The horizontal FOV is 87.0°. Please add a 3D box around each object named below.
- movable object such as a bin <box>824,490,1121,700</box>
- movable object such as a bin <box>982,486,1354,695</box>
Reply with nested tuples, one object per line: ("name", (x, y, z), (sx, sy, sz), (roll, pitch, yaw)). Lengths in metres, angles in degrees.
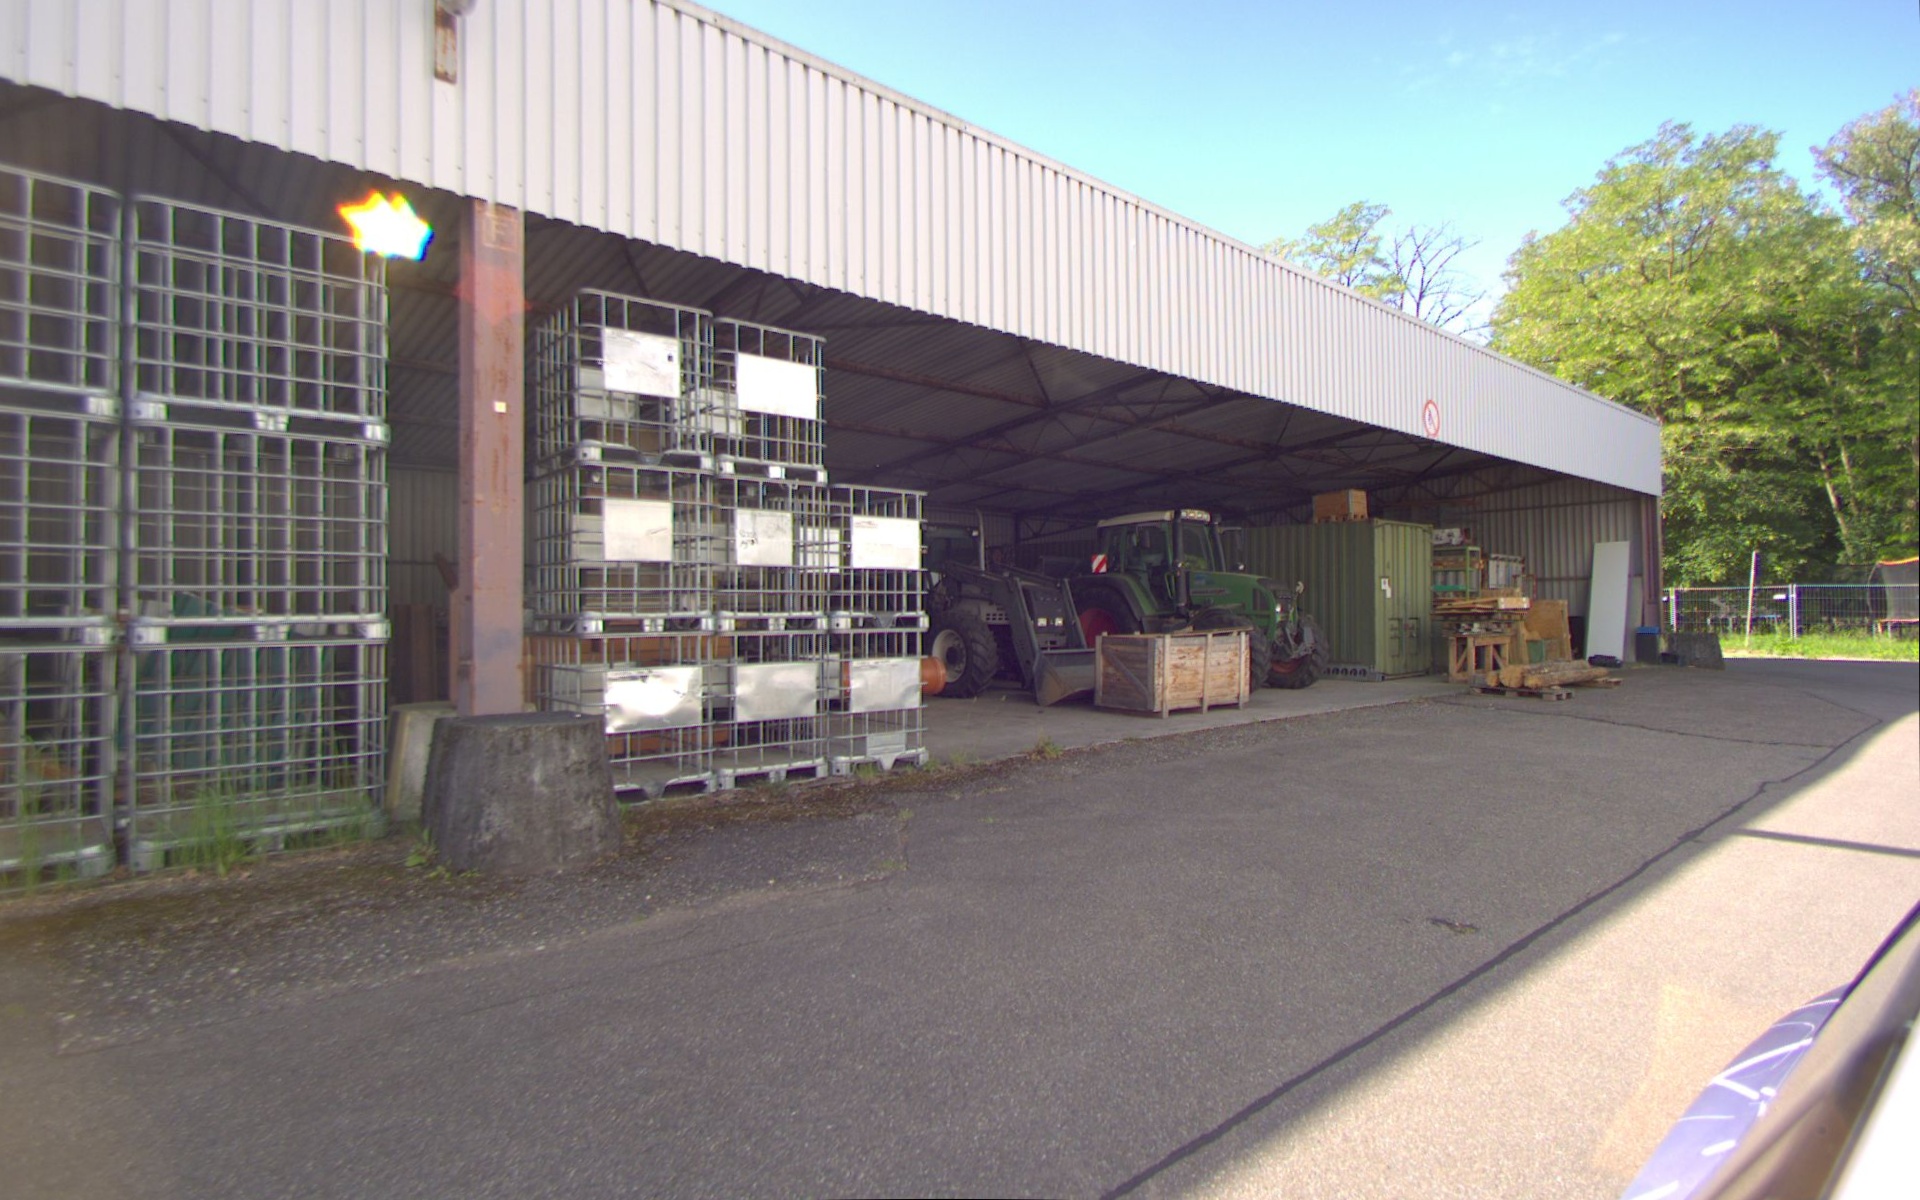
("movable object such as a bin", (0.060, -0.052, 16.357), (2.453, 2.867, 4.534), (1, -1, -40))
("movable object such as a bin", (3.337, -0.115, 17.474), (2.770, 2.962, 5.844), (0, -1, -40))
